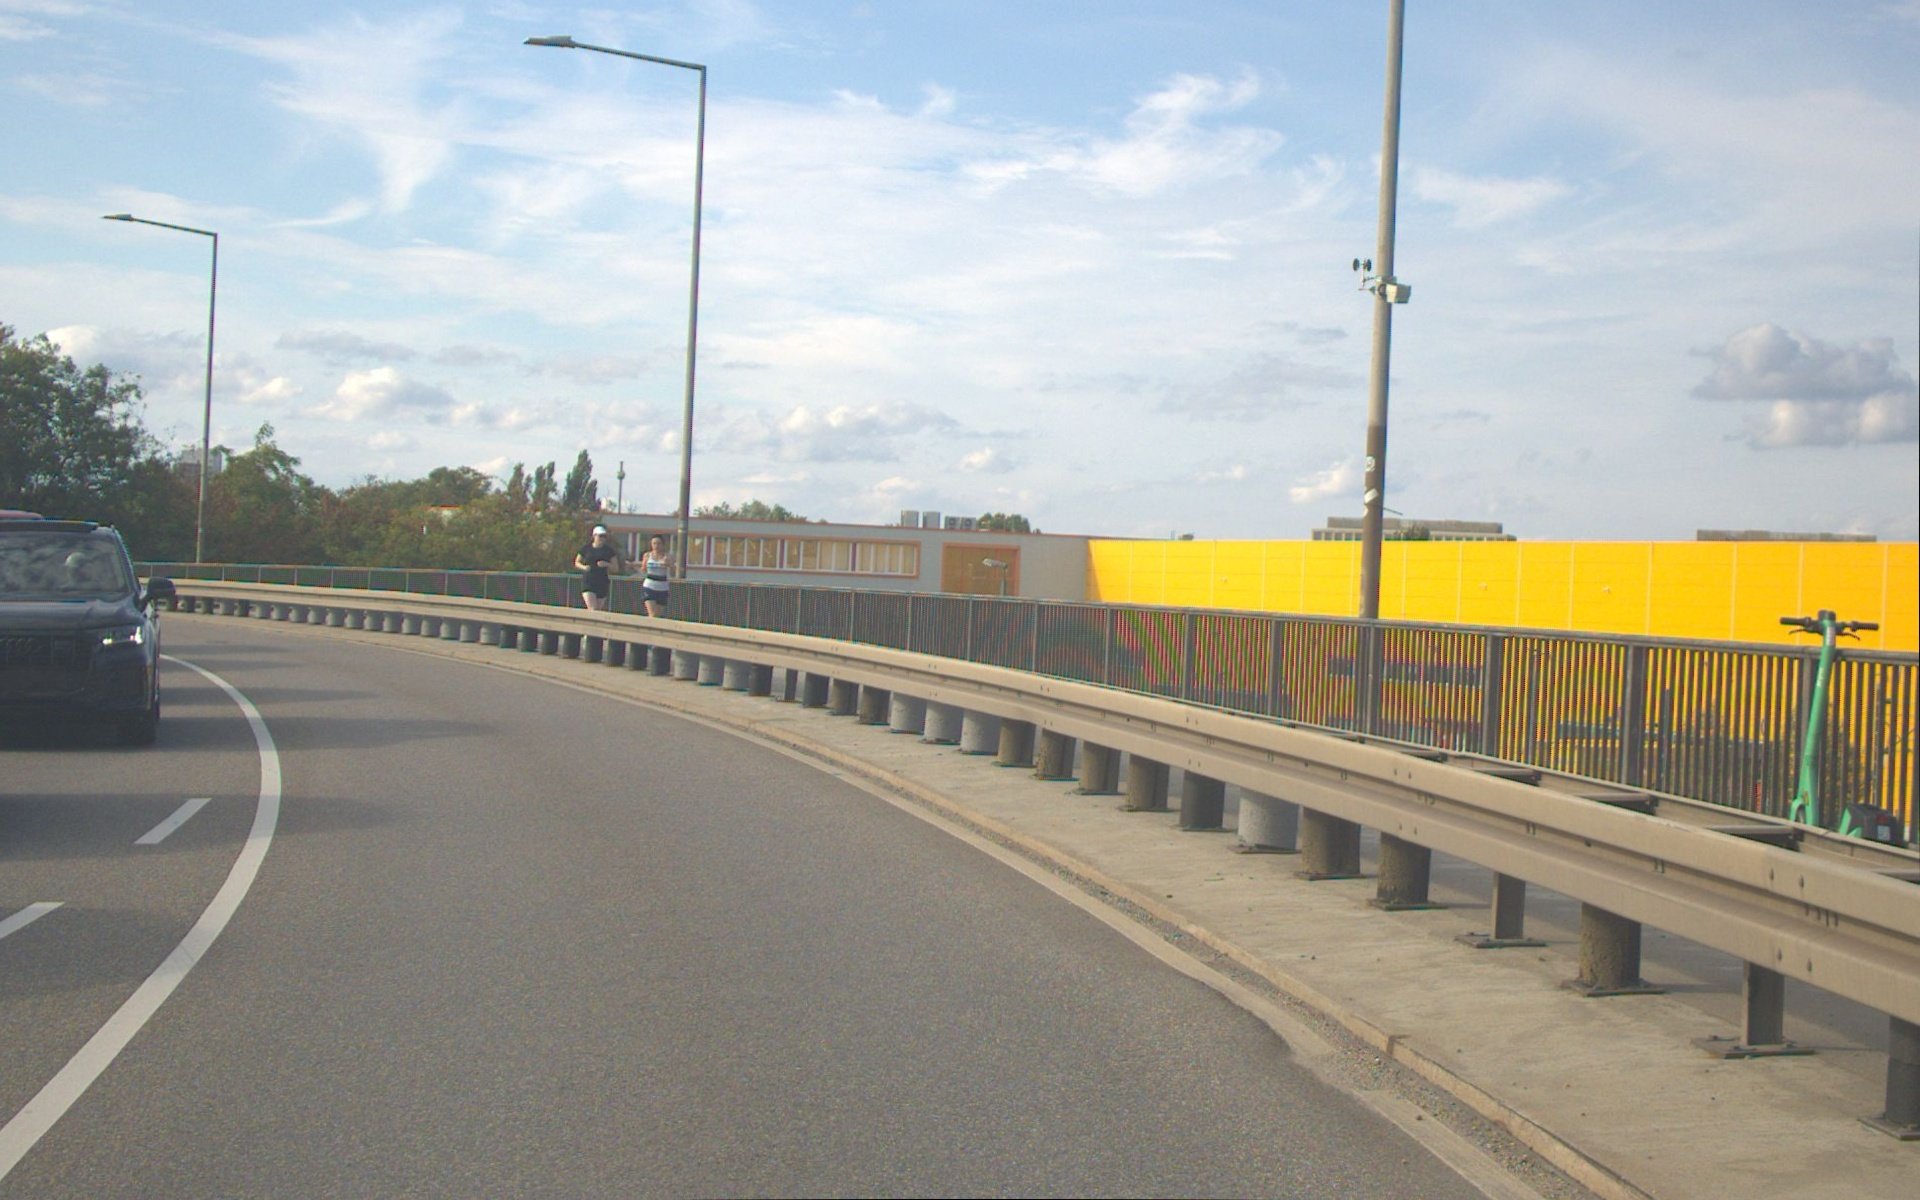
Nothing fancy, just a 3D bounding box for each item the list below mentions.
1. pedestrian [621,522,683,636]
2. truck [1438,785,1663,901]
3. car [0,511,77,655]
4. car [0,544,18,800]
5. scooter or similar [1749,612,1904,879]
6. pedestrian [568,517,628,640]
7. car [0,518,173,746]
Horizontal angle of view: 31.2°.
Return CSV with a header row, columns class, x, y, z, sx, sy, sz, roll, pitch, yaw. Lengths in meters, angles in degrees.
class,x,y,z,sx,sy,sz,roll,pitch,yaw
pedestrian,-4.233,-0.291,47.225,0.676,1.538,0.961,0,0,-15
truck,20.439,8.380,118.994,7.207,3.605,2.668,0,2,-20
car,-13.411,-0.274,47.496,2.007,1.897,4.869,0,1,-19
car,-6.239,0.448,18.407,1.759,1.484,4.446,0,1,-8
scooter or similar,3.942,0.641,15.692,0.265,1.158,1.189,0,0,-7
pedestrian,-4.925,-0.291,46.773,0.676,1.656,0.866,0,0,-15
car,-7.301,0.186,27.467,1.829,1.666,4.868,0,1,-11
